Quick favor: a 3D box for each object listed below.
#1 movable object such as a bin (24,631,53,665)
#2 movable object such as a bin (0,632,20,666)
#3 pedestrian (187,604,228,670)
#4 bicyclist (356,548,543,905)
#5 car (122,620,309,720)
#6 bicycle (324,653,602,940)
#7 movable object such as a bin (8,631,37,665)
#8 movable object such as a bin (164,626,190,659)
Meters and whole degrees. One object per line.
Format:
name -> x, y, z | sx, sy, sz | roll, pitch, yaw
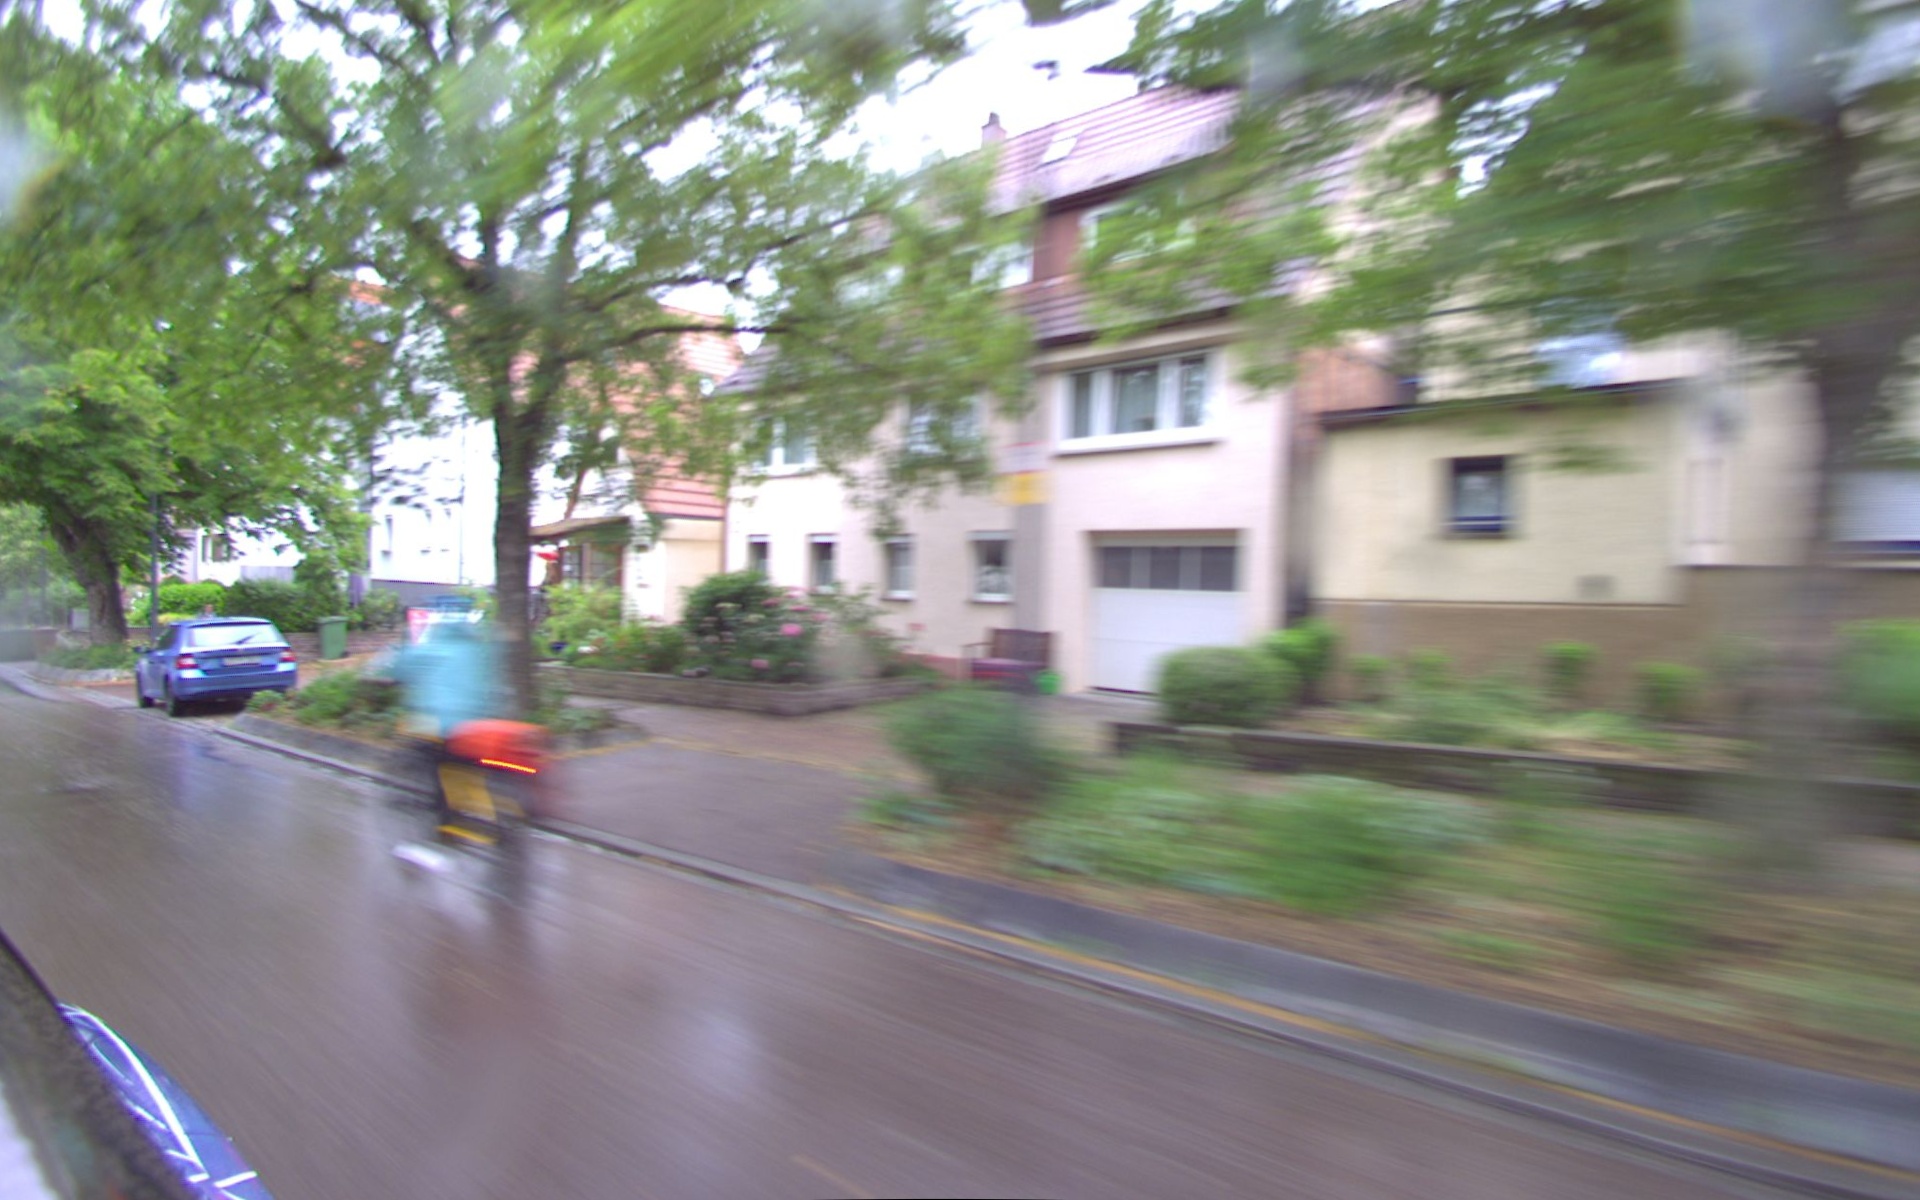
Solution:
movable object such as a bin -> -29.993, 1.561, 32.946 | 0.655, 1.082, 0.596 | 2, -1, -45
movable object such as a bin -> -30.546, 1.560, 32.382 | 0.655, 1.075, 0.596 | 2, -1, -45
pedestrian -> -18.816, 0.907, 25.314 | 0.931, 1.606, 0.643 | -1, -1, 41
bicyclist -> -2.769, 0.620, 5.477 | 0.879, 1.744, 0.621 | -1, -1, 41
car -> -12.218, 1.055, 16.530 | 3.795, 1.406, 1.731 | -1, -1, 42
bicycle -> -2.725, 0.926, 5.430 | 1.980, 1.218, 0.620 | -1, -1, 41
movable object such as a bin -> -30.713, 1.560, 33.162 | 0.655, 1.082, 0.596 | 2, -1, -45
movable object such as a bin -> -27.806, 1.497, 35.941 | 0.659, 1.141, 0.655 | -1, -1, 43
